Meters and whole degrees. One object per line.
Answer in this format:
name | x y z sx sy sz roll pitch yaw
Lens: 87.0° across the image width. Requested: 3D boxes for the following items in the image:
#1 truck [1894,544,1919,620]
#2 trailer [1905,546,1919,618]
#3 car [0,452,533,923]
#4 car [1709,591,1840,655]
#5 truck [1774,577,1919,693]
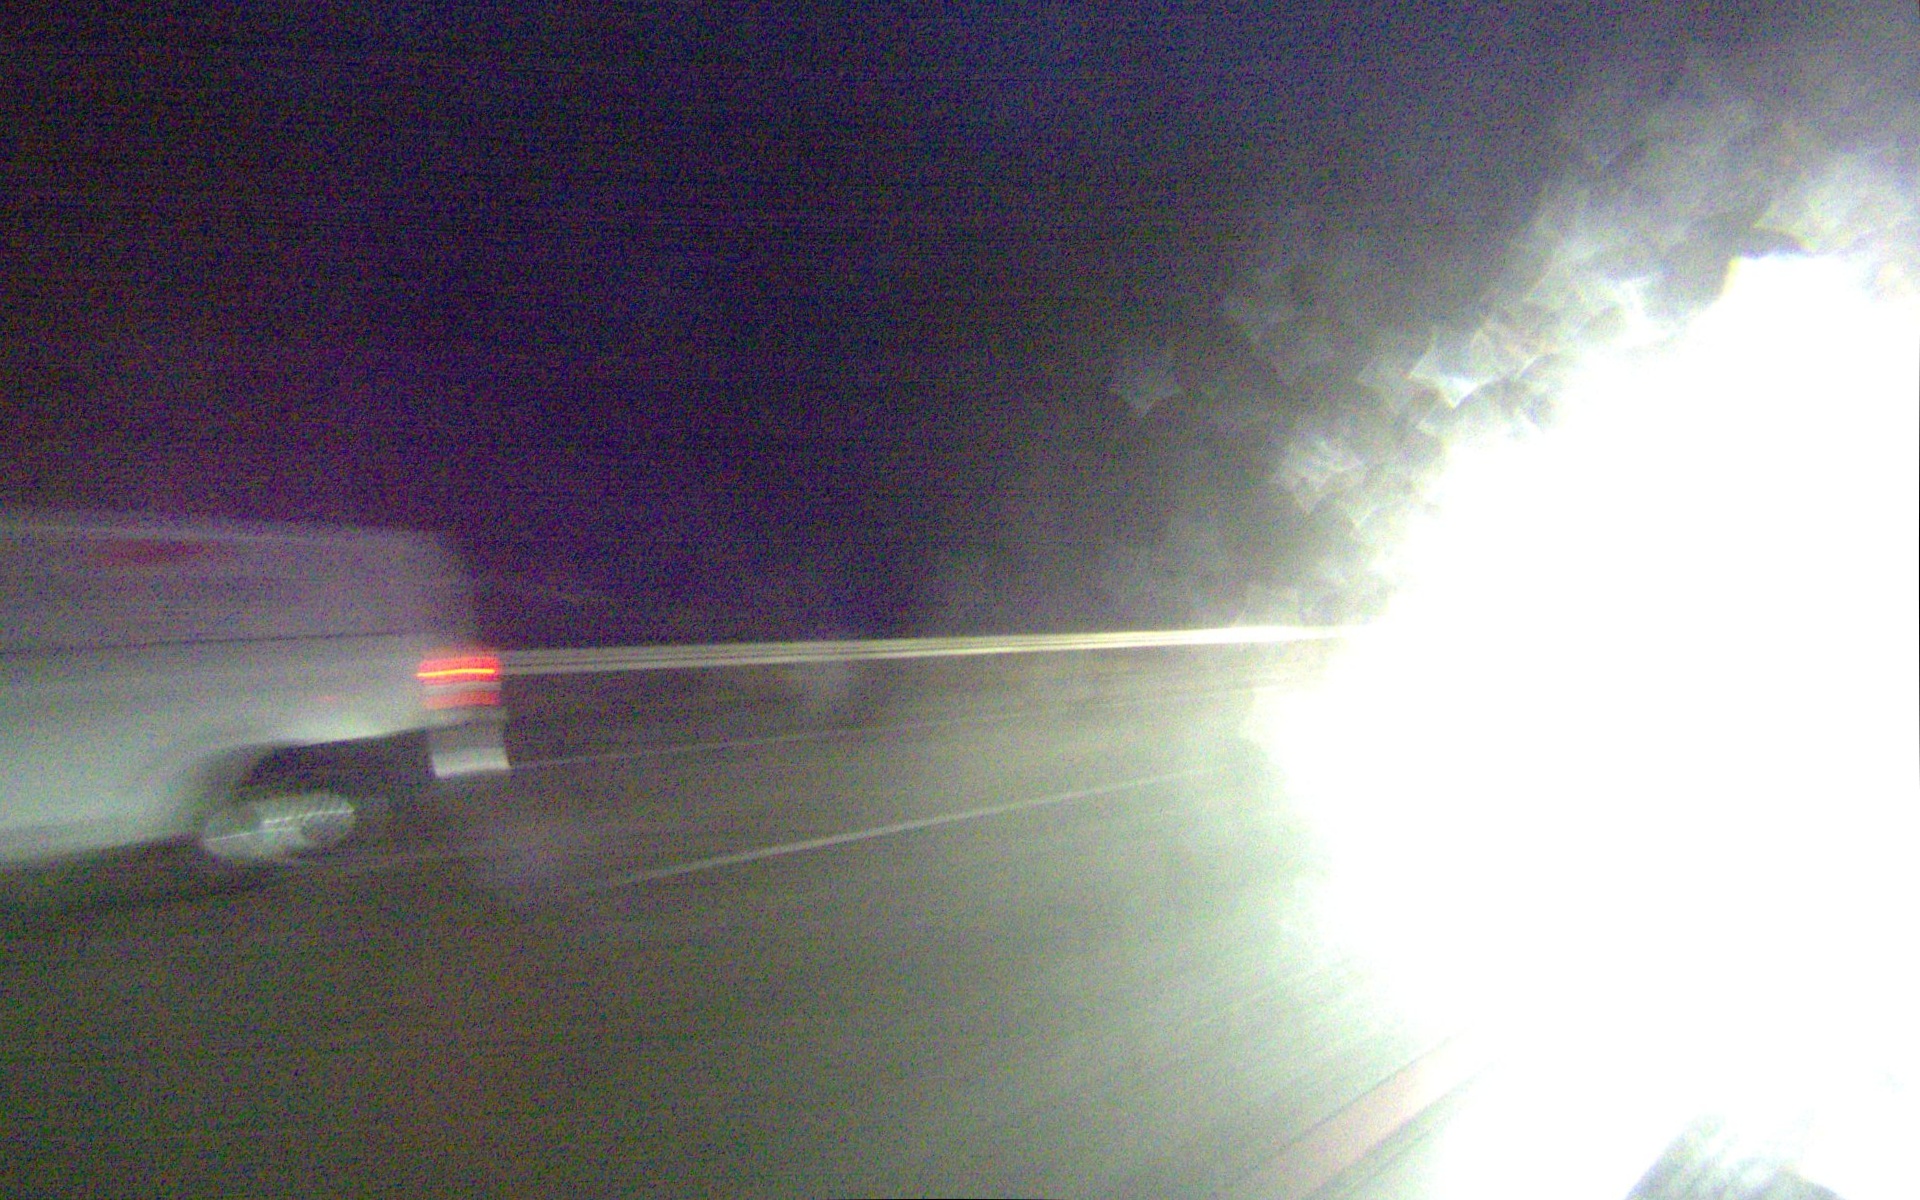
truck | 55.534 -1.023 57.388 6.888 4.155 2.865 0 0 -40
trailer | 60.991 -1.090 61.959 13.398 4.149 2.871 -1 0 -40
car | -5.087 0.360 4.755 5.313 1.999 2.049 0 0 -42
car | 21.145 0.542 26.198 5.272 1.498 1.746 0 0 -41
truck | 15.482 0.489 17.105 4.769 1.717 1.847 -1 0 -41
